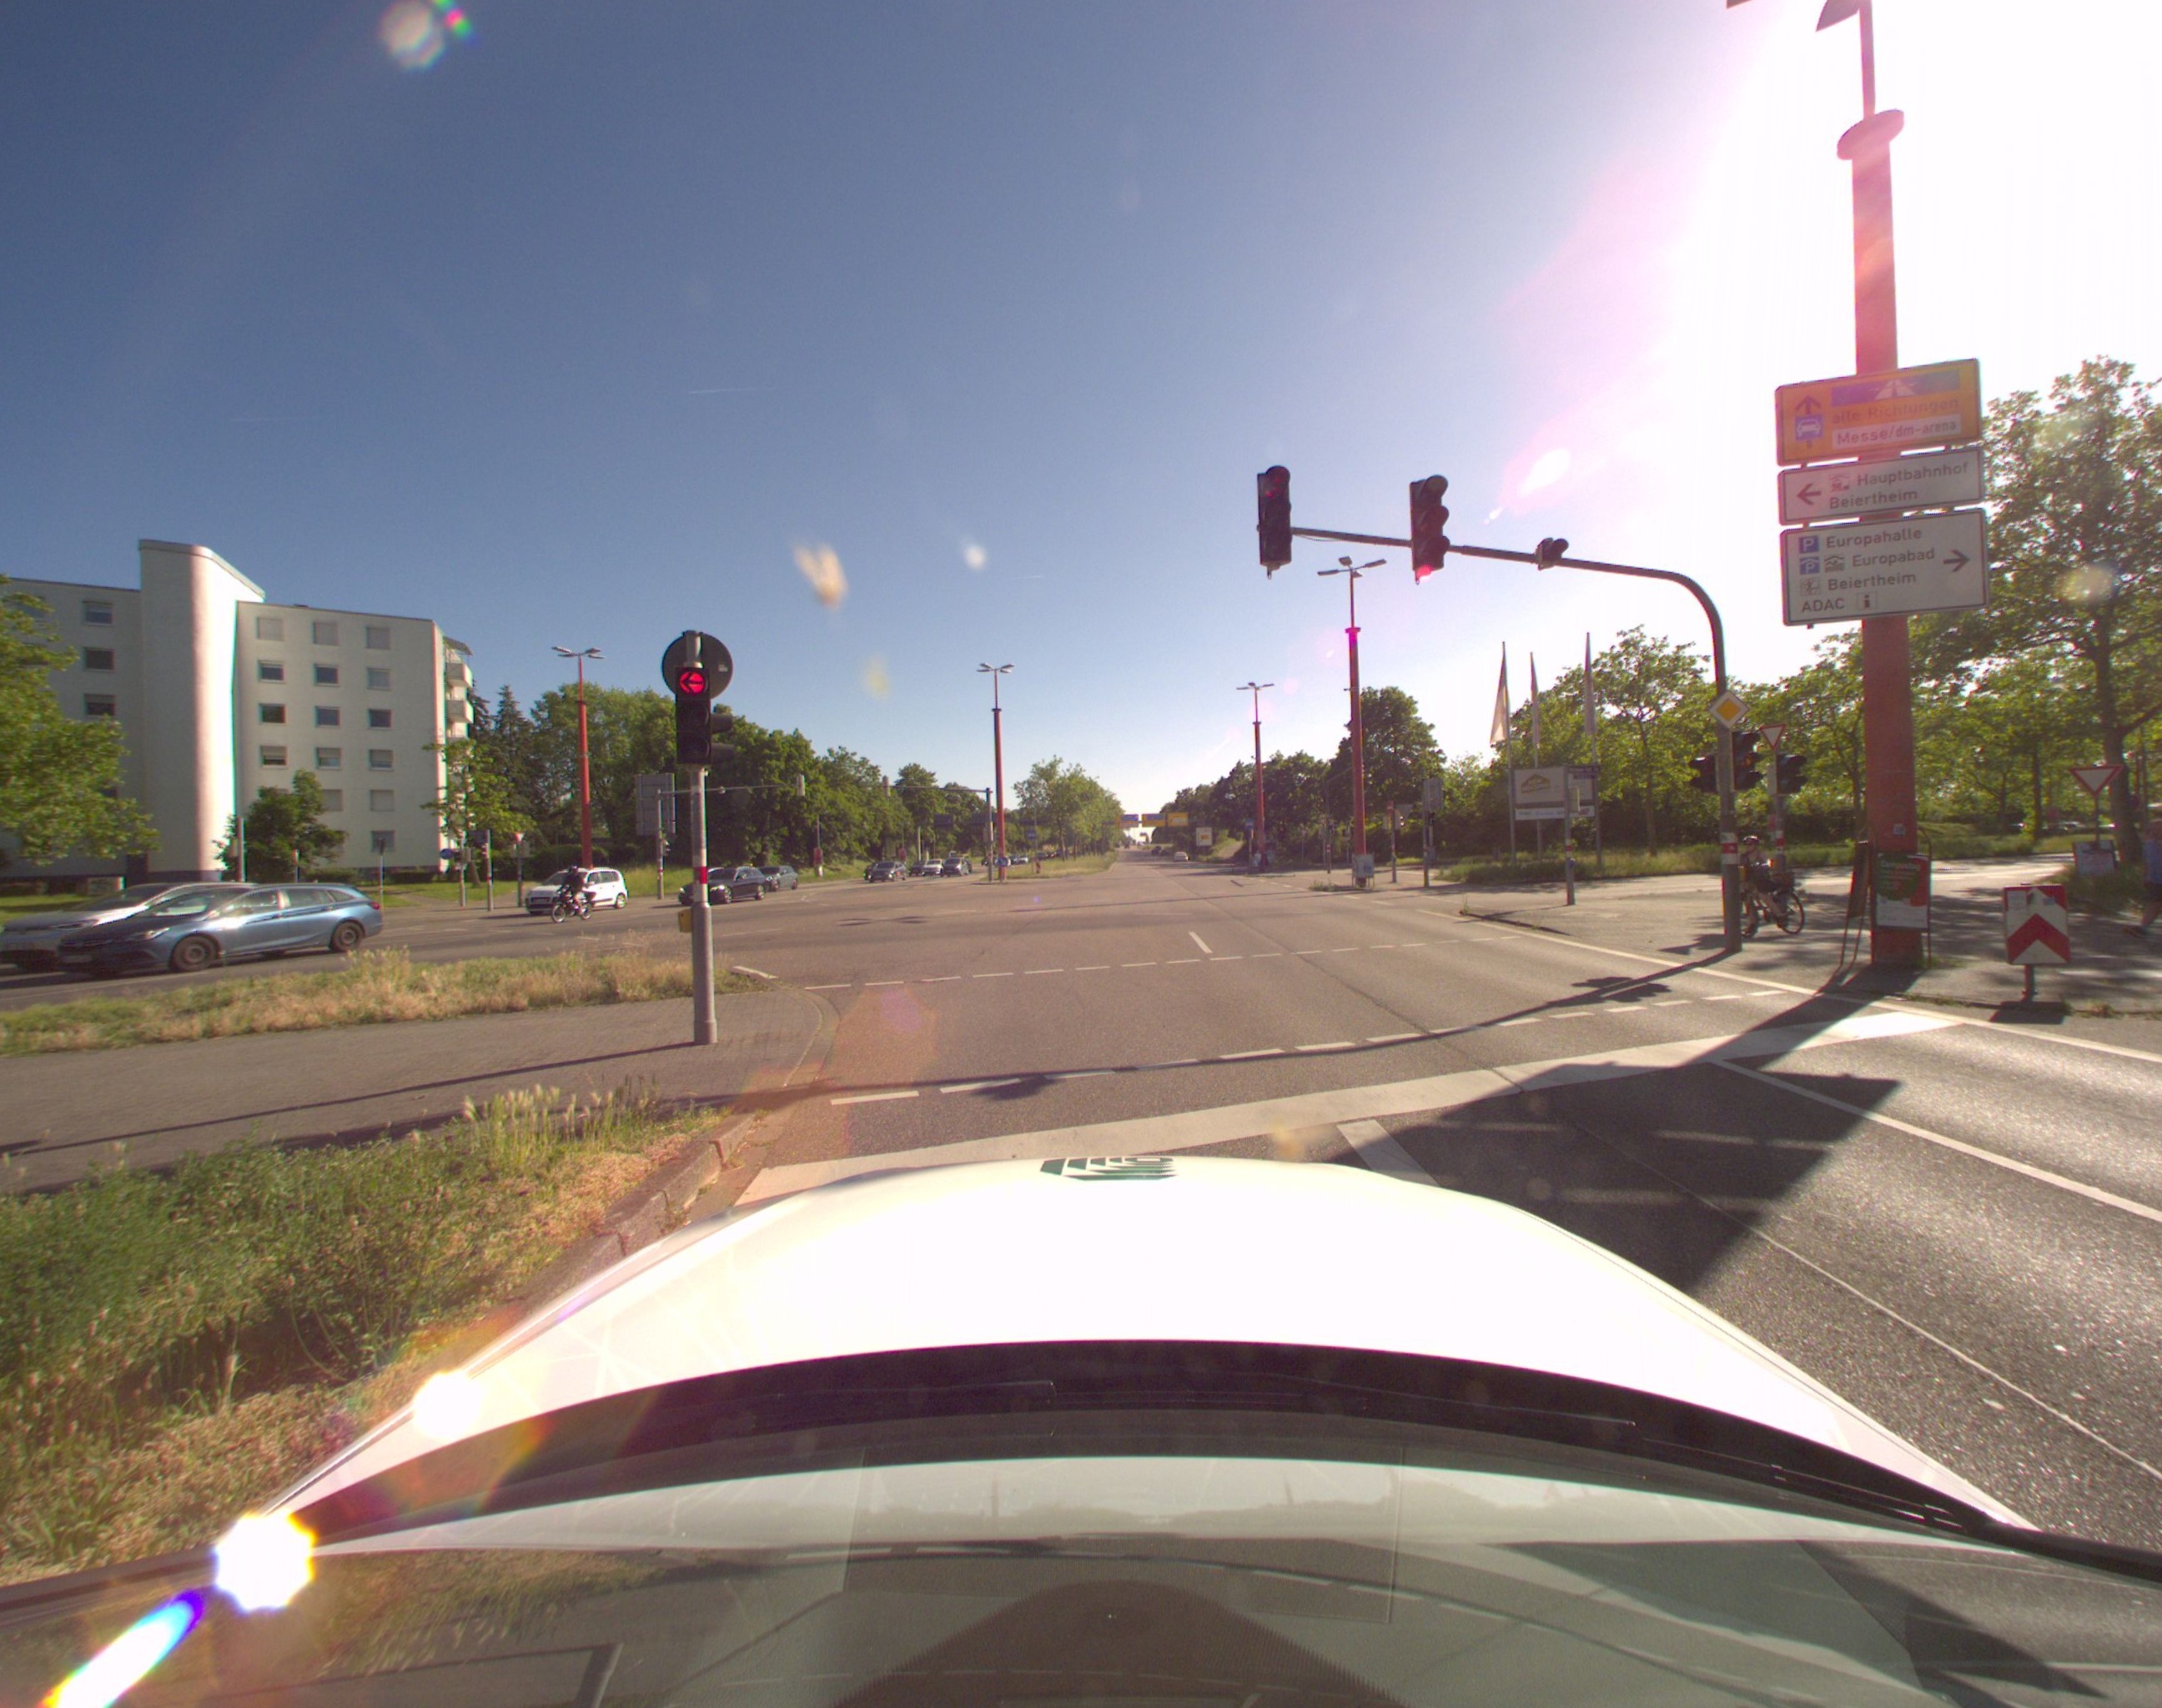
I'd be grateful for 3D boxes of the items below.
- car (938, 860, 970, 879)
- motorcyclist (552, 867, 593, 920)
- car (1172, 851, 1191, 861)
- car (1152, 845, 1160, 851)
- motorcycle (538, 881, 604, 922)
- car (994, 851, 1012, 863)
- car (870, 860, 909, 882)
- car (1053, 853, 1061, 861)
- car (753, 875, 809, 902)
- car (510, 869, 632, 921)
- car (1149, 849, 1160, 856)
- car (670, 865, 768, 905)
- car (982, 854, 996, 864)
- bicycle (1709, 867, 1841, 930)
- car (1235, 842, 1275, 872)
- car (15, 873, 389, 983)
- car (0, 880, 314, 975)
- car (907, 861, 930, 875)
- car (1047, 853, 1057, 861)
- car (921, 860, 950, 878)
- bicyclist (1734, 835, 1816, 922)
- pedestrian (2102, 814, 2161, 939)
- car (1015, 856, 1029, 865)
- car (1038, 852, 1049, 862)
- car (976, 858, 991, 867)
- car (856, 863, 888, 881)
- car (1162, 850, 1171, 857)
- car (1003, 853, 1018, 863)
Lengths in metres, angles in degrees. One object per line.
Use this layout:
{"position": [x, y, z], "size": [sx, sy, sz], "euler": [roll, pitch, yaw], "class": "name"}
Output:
{"position": [-9.966, 1.213, 64.192], "size": [1.694, 1.421, 4.003], "euler": [1, 0, 3], "class": "car"}
{"position": [-15.633, 1.200, 25.058], "size": [0.830, 1.599, 0.642], "euler": [-1, -1, 10], "class": "motorcyclist"}
{"position": [14.156, 0.288, 114.742], "size": [2.049, 1.371, 4.389], "euler": [-2, 0, -2], "class": "car"}
{"position": [20.285, -1.487, 220.243], "size": [1.985, 1.540, 4.003], "euler": [-1, 0, 3], "class": "car"}
{"position": [-15.654, 1.437, 25.055], "size": [0.418, 1.131, 2.101], "euler": [-1, 0, 10], "class": "motorcycle"}
{"position": [-10.468, 0.394, 109.007], "size": [1.696, 1.596, 4.004], "euler": [-1, 0, 4], "class": "car"}
{"position": [-13.616, 1.176, 58.104], "size": [1.542, 1.377, 4.265], "euler": [-2, 0, 3], "class": "car"}
{"position": [-5.780, 0.680, 193.971], "size": [1.600, 1.730, 3.793], "euler": [-1, 0, 4], "class": "car"}
{"position": [-17.183, 1.945, 46.798], "size": [1.424, 1.388, 4.144], "euler": [-1, 0, 4], "class": "car"}
{"position": [-19.035, 1.493, 30.615], "size": [1.793, 1.707, 4.063], "euler": [-2, 0, 3], "class": "car"}
{"position": [17.623, -0.380, 194.862], "size": [1.989, 1.496, 3.995], "euler": [-2, 0, -3], "class": "car"}
{"position": [-14.905, 1.225, 33.829], "size": [1.869, 1.485, 4.607], "euler": [-1, 0, 2], "class": "car"}
{"position": [-14.052, 0.727, 124.941], "size": [1.622, 1.450, 3.437], "euler": [-1, 0, 3], "class": "car"}
{"position": [11.099, 0.691, 13.020], "size": [2.168, 0.878, 0.556], "euler": [-2, 0, -18], "class": "bicycle"}
{"position": [11.535, 0.173, 53.734], "size": [1.977, 1.887, 4.020], "euler": [-2, 0, 20], "class": "car"}
{"position": [-16.144, 1.253, 15.410], "size": [1.984, 1.594, 4.470], "euler": [-2, 0, 5], "class": "car"}
{"position": [-19.474, 1.448, 17.335], "size": [1.829, 1.601, 4.444], "euler": [-2, 0, 5], "class": "car"}
{"position": [-15.816, 1.381, 79.463], "size": [1.448, 1.273, 3.614], "euler": [-1, 0, 1], "class": "car"}
{"position": [-6.255, 0.606, 173.599], "size": [1.649, 1.747, 4.005], "euler": [-1, 0, 4], "class": "car"}
{"position": [-12.839, 1.322, 71.907], "size": [1.598, 1.459, 3.954], "euler": [-2, 0, 4], "class": "car"}
{"position": [11.209, 0.387, 13.166], "size": [0.741, 1.341, 0.704], "euler": [-2, 0, -16], "class": "bicyclist"}
{"position": [15.822, 0.310, 11.863], "size": [0.892, 1.788, 0.896], "euler": [-1, 0, -14], "class": "pedestrian"}
{"position": [-9.564, 1.016, 132.375], "size": [1.997, 1.308, 4.000], "euler": [-2, 0, 0], "class": "car"}
{"position": [-7.192, 0.593, 155.445], "size": [1.618, 1.739, 4.004], "euler": [-2, 0, 4], "class": "car"}
{"position": [-16.806, 1.453, 140.819], "size": [1.986, 1.638, 4.001], "euler": [-1, 0, 2], "class": "car"}
{"position": [-17.889, 1.525, 69.836], "size": [1.538, 1.433, 3.889], "euler": [-3, -1, 3], "class": "car"}
{"position": [17.926, -0.074, 171.209], "size": [1.731, 1.341, 3.084], "euler": [-2, 0, 3], "class": "car"}
{"position": [-10.437, 0.603, 120.572], "size": [1.696, 1.558, 3.807], "euler": [-1, 0, 4], "class": "car"}
